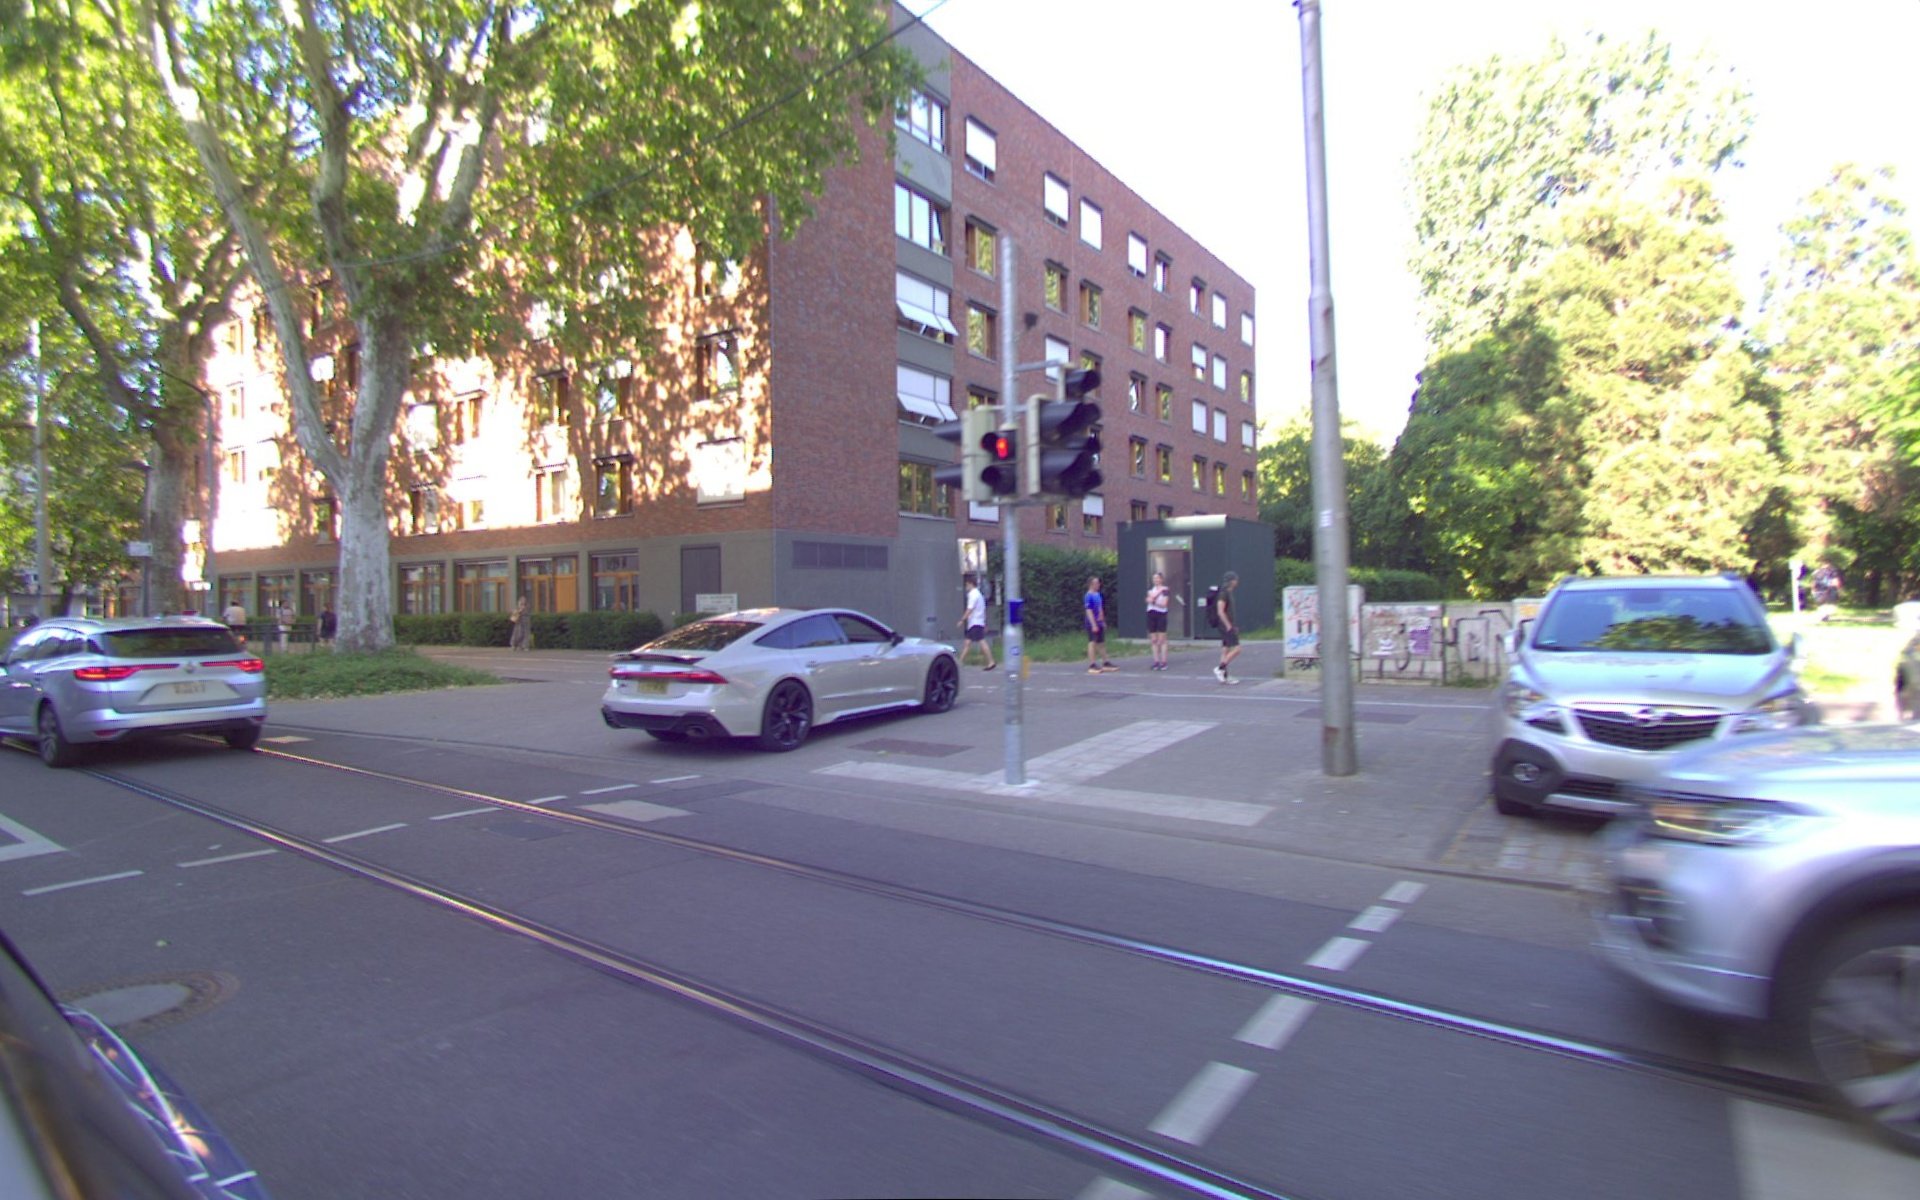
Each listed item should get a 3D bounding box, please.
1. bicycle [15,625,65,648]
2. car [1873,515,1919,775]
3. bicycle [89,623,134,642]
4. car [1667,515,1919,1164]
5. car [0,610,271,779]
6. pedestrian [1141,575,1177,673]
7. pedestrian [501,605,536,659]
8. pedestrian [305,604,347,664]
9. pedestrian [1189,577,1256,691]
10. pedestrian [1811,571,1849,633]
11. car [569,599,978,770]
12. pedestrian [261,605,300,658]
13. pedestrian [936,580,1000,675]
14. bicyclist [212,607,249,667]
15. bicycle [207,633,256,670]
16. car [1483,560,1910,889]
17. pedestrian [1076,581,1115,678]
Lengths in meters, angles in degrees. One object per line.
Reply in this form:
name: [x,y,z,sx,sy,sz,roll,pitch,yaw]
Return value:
bicycle: [-53.089,2.079,58.425,2.069,1.198,0.882,-2,1,-39]
car: [7.179,0.328,5.977,1.933,1.848,4.534,-1,1,33]
bicycle: [-51.125,1.955,60.977,2.009,1.102,0.822,-1,0,-3]
car: [4.135,0.582,2.304,4.107,1.580,1.800,-1,-2,35]
car: [-9.395,0.884,11.050,4.195,1.472,1.760,-1,1,36]
pedestrian: [3.540,0.425,18.008,0.586,1.718,0.531,-1,0,12]
pedestrian: [-13.233,0.943,30.348,0.714,1.585,0.658,-1,0,35]
pedestrian: [-18.562,0.988,29.630,0.967,1.685,0.731,-1,1,36]
pedestrian: [4.023,0.496,15.497,0.777,1.686,0.703,-1,0,35]
pedestrian: [24.415,0.048,28.401,0.767,1.686,0.712,-1,0,-43]
car: [-1.878,0.783,11.748,1.949,1.471,4.726,-1,1,33]
pedestrian: [-23.146,1.056,34.474,0.970,1.757,0.757,-1,0,35]
pedestrian: [0.165,0.512,19.266,0.911,1.750,0.837,-1,0,29]
bicyclist: [-22.773,1.142,31.589,0.837,1.801,0.693,-1,0,36]
bicycle: [-22.736,1.598,31.577,1.836,1.071,0.709,-1,0,37]
car: [5.099,0.599,7.342,1.897,1.659,4.106,-1,1,33]
pedestrian: [2.404,0.508,17.893,0.557,1.671,0.693,-1,0,16]
